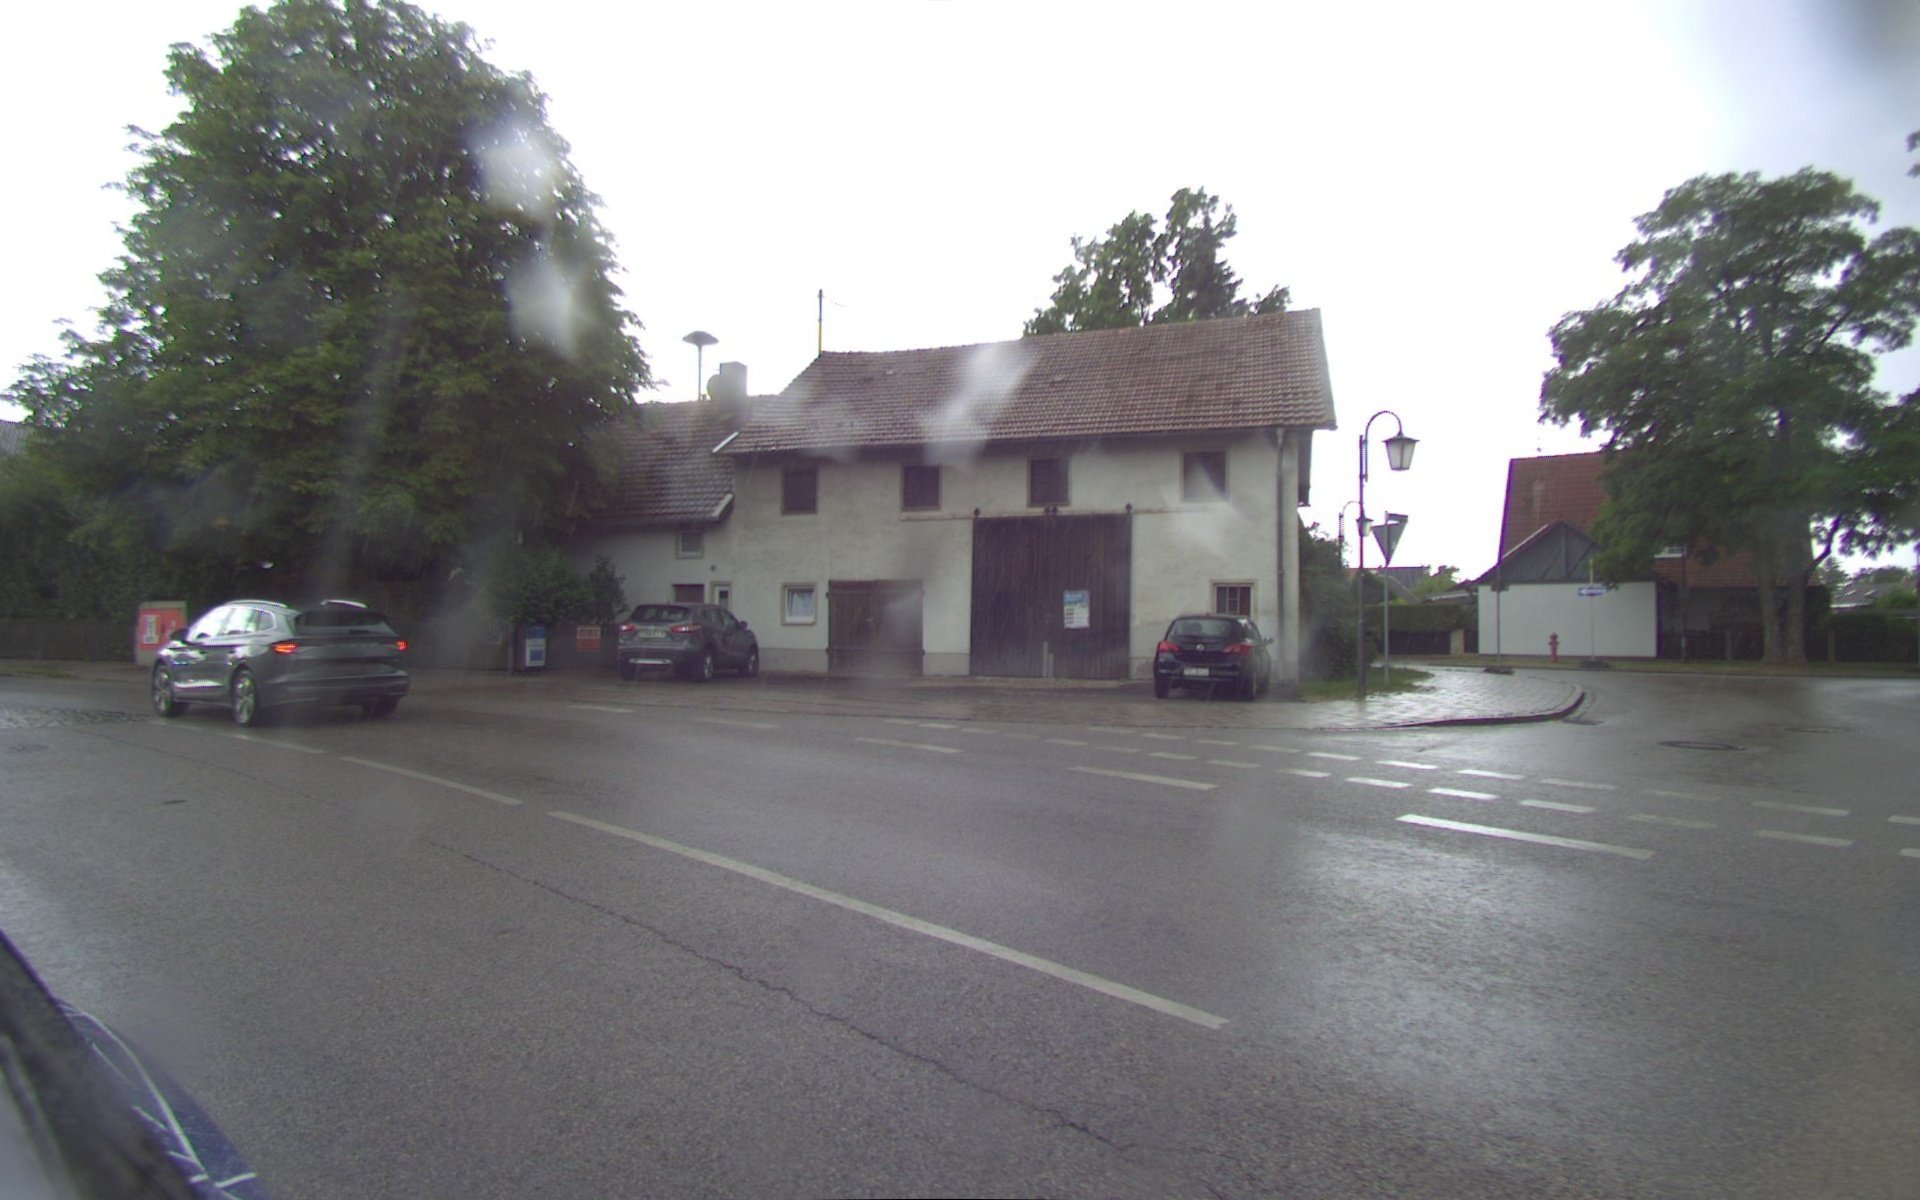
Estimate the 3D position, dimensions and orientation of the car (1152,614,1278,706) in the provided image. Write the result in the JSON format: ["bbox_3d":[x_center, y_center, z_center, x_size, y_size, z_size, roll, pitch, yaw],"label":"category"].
[{"bbox_3d":[4.709,0.997,18.306,1.807,1.447,4.252,0,-1,20],"label":"car"}]

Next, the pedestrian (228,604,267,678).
[{"bbox_3d":[-16.170,0.919,22.978,0.642,1.640,0.480,0,-1,-25],"label":"pedestrian"}]

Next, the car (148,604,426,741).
[{"bbox_3d":[-9.394,0.897,14.019,4.185,1.607,1.975,-1,-1,38],"label":"car"}]

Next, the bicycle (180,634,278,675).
[{"bbox_3d":[-17.088,1.267,23.671,1.850,0.909,0.663,0,-1,4],"label":"bicycle"}]

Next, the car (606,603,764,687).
[{"bbox_3d":[-5.594,0.950,21.181,1.795,1.560,4.274,0,-3,5],"label":"car"}]
